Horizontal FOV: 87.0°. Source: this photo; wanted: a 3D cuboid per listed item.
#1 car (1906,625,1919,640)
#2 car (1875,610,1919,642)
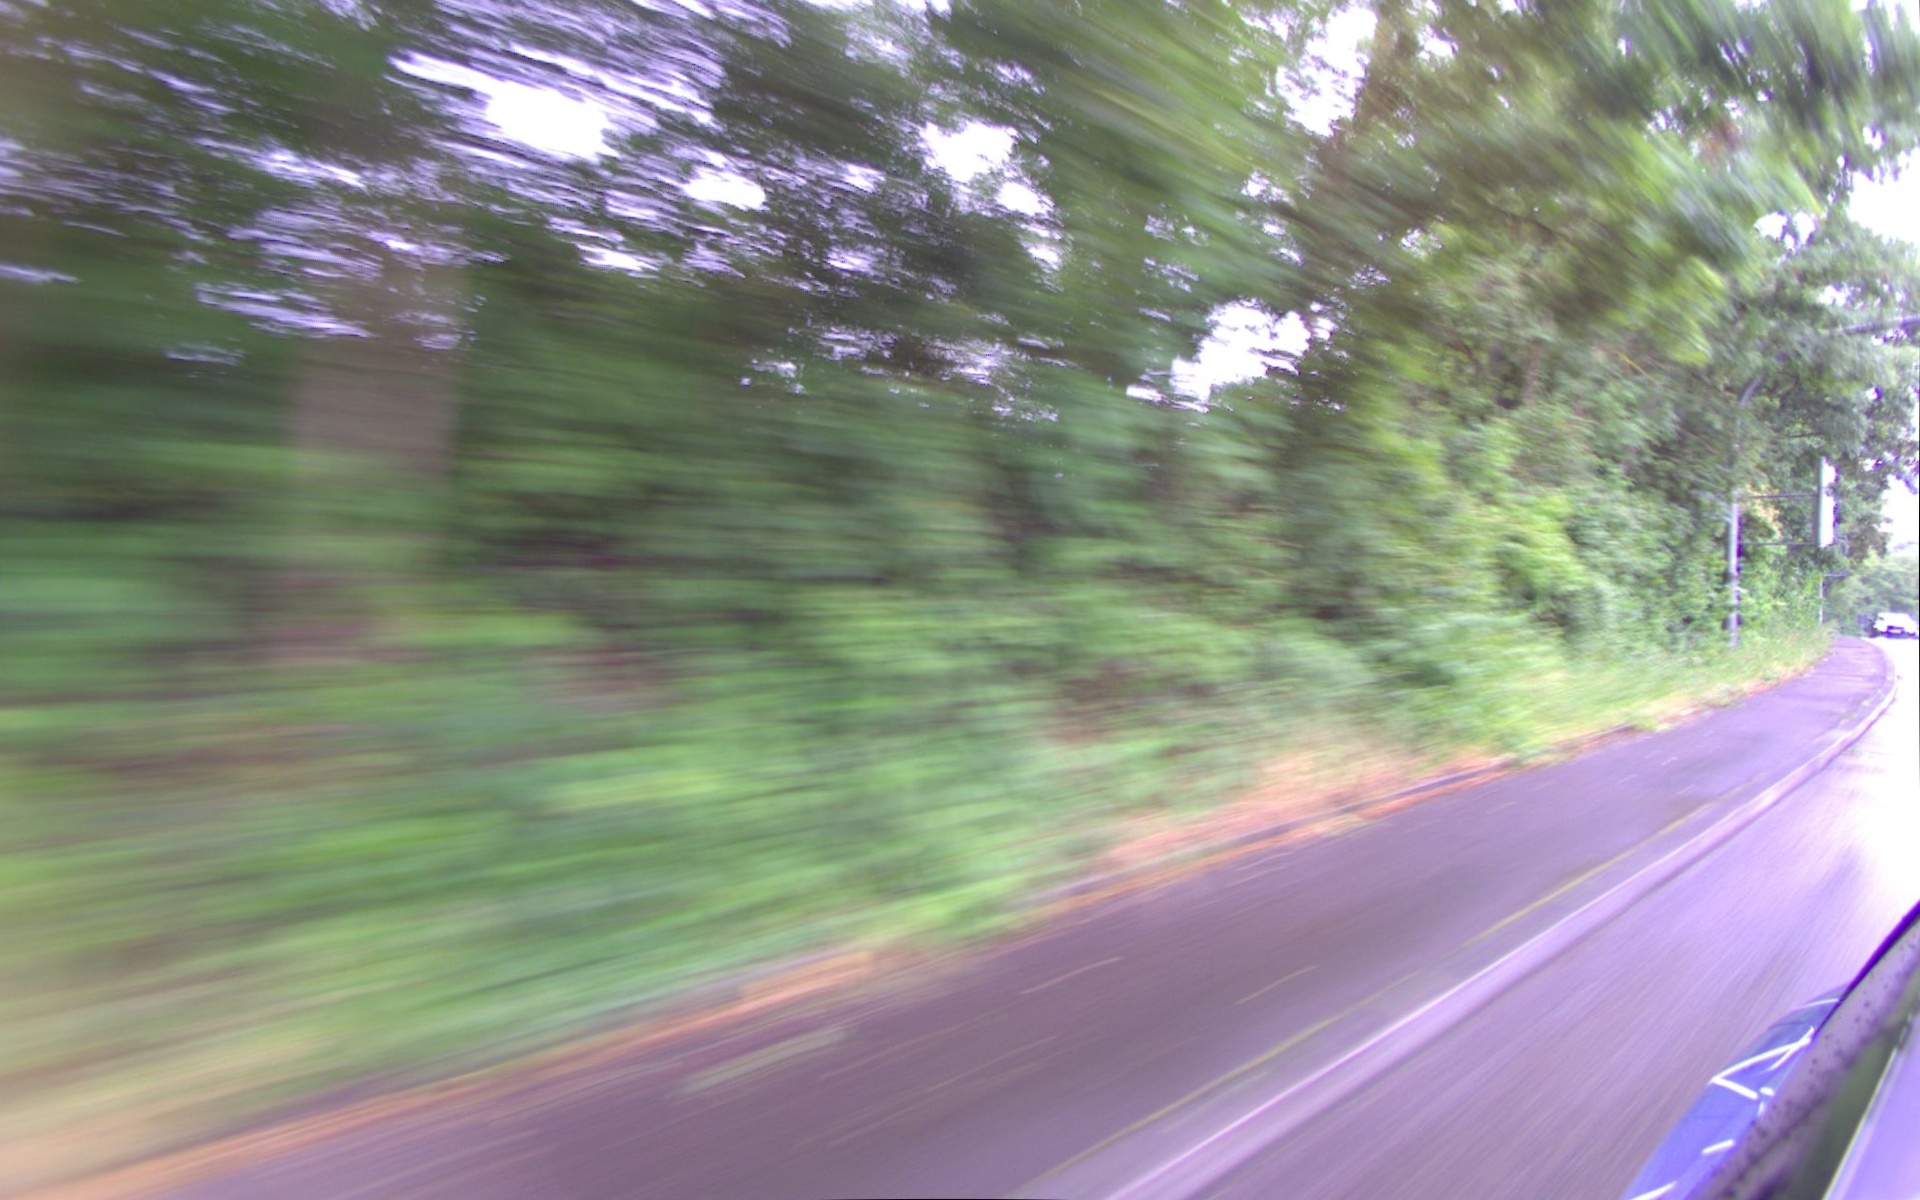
[{"bbox_3d":[94.359,3.232,99.264,1.695,1.445,4.027,3,1,34],"label":"car"},{"bbox_3d":[51.620,1.457,55.359,3.932,1.605,1.996,2,1,-43],"label":"car"}]
